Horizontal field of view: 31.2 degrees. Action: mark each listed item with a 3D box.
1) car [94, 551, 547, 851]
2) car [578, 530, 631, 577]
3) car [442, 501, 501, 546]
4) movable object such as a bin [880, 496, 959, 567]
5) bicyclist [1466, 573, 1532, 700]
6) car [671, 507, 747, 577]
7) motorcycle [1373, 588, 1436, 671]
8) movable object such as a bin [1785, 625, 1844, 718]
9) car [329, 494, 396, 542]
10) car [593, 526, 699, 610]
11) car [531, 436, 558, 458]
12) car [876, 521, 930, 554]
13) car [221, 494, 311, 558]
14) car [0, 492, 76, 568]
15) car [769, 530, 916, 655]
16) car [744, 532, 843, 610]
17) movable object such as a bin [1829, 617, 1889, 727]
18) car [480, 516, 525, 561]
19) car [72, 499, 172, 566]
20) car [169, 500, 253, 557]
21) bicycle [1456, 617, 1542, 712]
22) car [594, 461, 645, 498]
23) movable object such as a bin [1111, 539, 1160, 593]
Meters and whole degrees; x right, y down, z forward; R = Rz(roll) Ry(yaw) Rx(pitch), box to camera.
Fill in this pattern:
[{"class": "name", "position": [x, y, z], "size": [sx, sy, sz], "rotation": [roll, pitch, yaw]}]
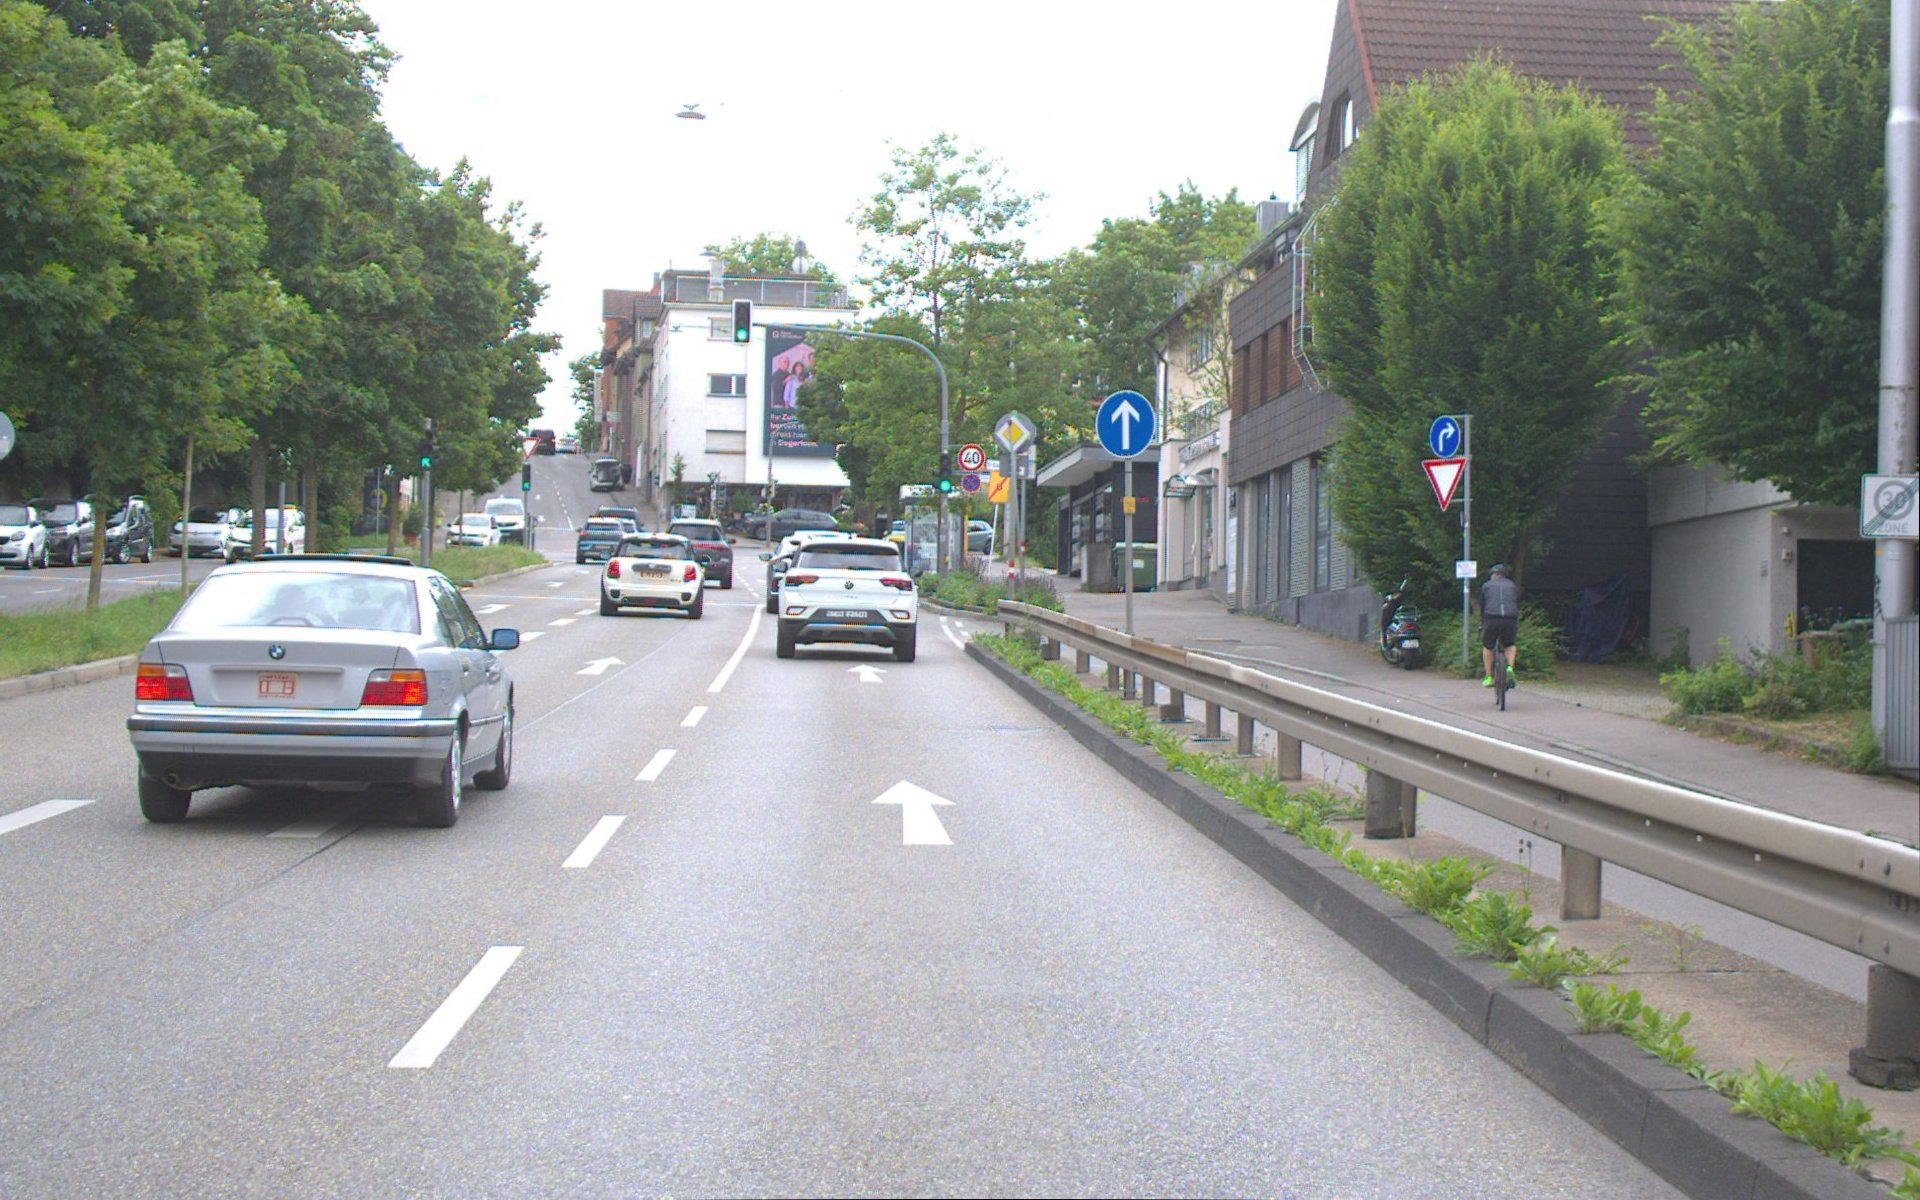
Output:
[{"class": "car", "position": [-3.432, 0.465, 19.259], "size": [1.634, 1.378, 4.620], "rotation": [2, 1, 0]}, {"class": "car", "position": [-12.213, -1.590, 118.264], "size": [1.722, 1.577, 3.457], "rotation": [-1, 1, -5]}, {"class": "car", "position": [-18.241, -2.885, 128.402], "size": [1.859, 1.536, 4.280], "rotation": [3, 2, -5]}, {"class": "movable object such as a bin", "position": [-1.145, -1.937, 96.919], "size": [1.891, 1.863, 1.529], "rotation": [3, 2, -11]}, {"class": "bicyclist", "position": [6.653, 0.439, 42.448], "size": [0.566, 1.519, 0.959], "rotation": [-2, 2, -5]}, {"class": "car", "position": [-6.068, -1.385, 82.879], "size": [1.722, 1.634, 3.457], "rotation": [-1, 1, -5]}, {"class": "motorcycle", "position": [6.624, 0.427, 51.349], "size": [0.608, 1.158, 2.041], "rotation": [0, 2, -2]}, {"class": "movable object such as a bin", "position": [10.177, 0.848, 40.969], "size": [0.494, 1.054, 0.538], "rotation": [3, 2, -2]}, {"class": "car", "position": [-20.849, -2.868, 120.098], "size": [1.859, 1.536, 4.280], "rotation": [3, 2, -5]}, {"class": "car", "position": [-5.390, -0.555, 59.043], "size": [1.722, 1.371, 3.457], "rotation": [-1, 1, -5]}, {"class": "car", "position": [-30.280, -11.160, 250.615], "size": [1.822, 1.503, 4.001], "rotation": [3, 2, -6]}, {"class": "car", "position": [-2.437, -2.688, 148.532], "size": [1.723, 1.371, 3.455], "rotation": [-1, 1, 9]}, {"class": "car", "position": [-19.558, -2.114, 96.985], "size": [1.860, 1.664, 4.280], "rotation": [3, 2, -4]}, {"class": "car", "position": [-22.422, -1.681, 81.936], "size": [1.859, 1.664, 4.280], "rotation": [3, 2, -5]}, {"class": "car", "position": [-1.518, -0.112, 44.387], "size": [1.797, 1.514, 3.457], "rotation": [-1, 1, -2]}, {"class": "car", "position": [-3.100, -0.533, 63.424], "size": [1.722, 1.371, 3.457], "rotation": [-1, 1, -4]}, {"class": "movable object such as a bin", "position": [10.706, 0.852, 40.952], "size": [0.494, 1.268, 0.538], "rotation": [3, 2, -2]}, {"class": "car", "position": [-19.648, -2.646, 147.690], "size": [1.668, 1.859, 3.245], "rotation": [-1, 2, -4]}, {"class": "car", "position": [-22.373, -1.826, 91.885], "size": [1.859, 1.664, 4.280], "rotation": [3, 2, -5]}, {"class": "car", "position": [-22.552, -2.175, 103.620], "size": [1.859, 1.588, 4.280], "rotation": [3, 2, -5]}, {"class": "bicycle", "position": [6.660, 0.782, 42.563], "size": [0.566, 1.059, 2.006], "rotation": [-2, 2, -5]}, {"class": "car", "position": [-19.761, -6.983, 199.637], "size": [2.510, 2.006, 5.182], "rotation": [3, 2, -2]}, {"class": "movable object such as a bin", "position": [4.811, -0.932, 94.103], "size": [1.195, 1.403, 0.711], "rotation": [3, 1, -3]}]
